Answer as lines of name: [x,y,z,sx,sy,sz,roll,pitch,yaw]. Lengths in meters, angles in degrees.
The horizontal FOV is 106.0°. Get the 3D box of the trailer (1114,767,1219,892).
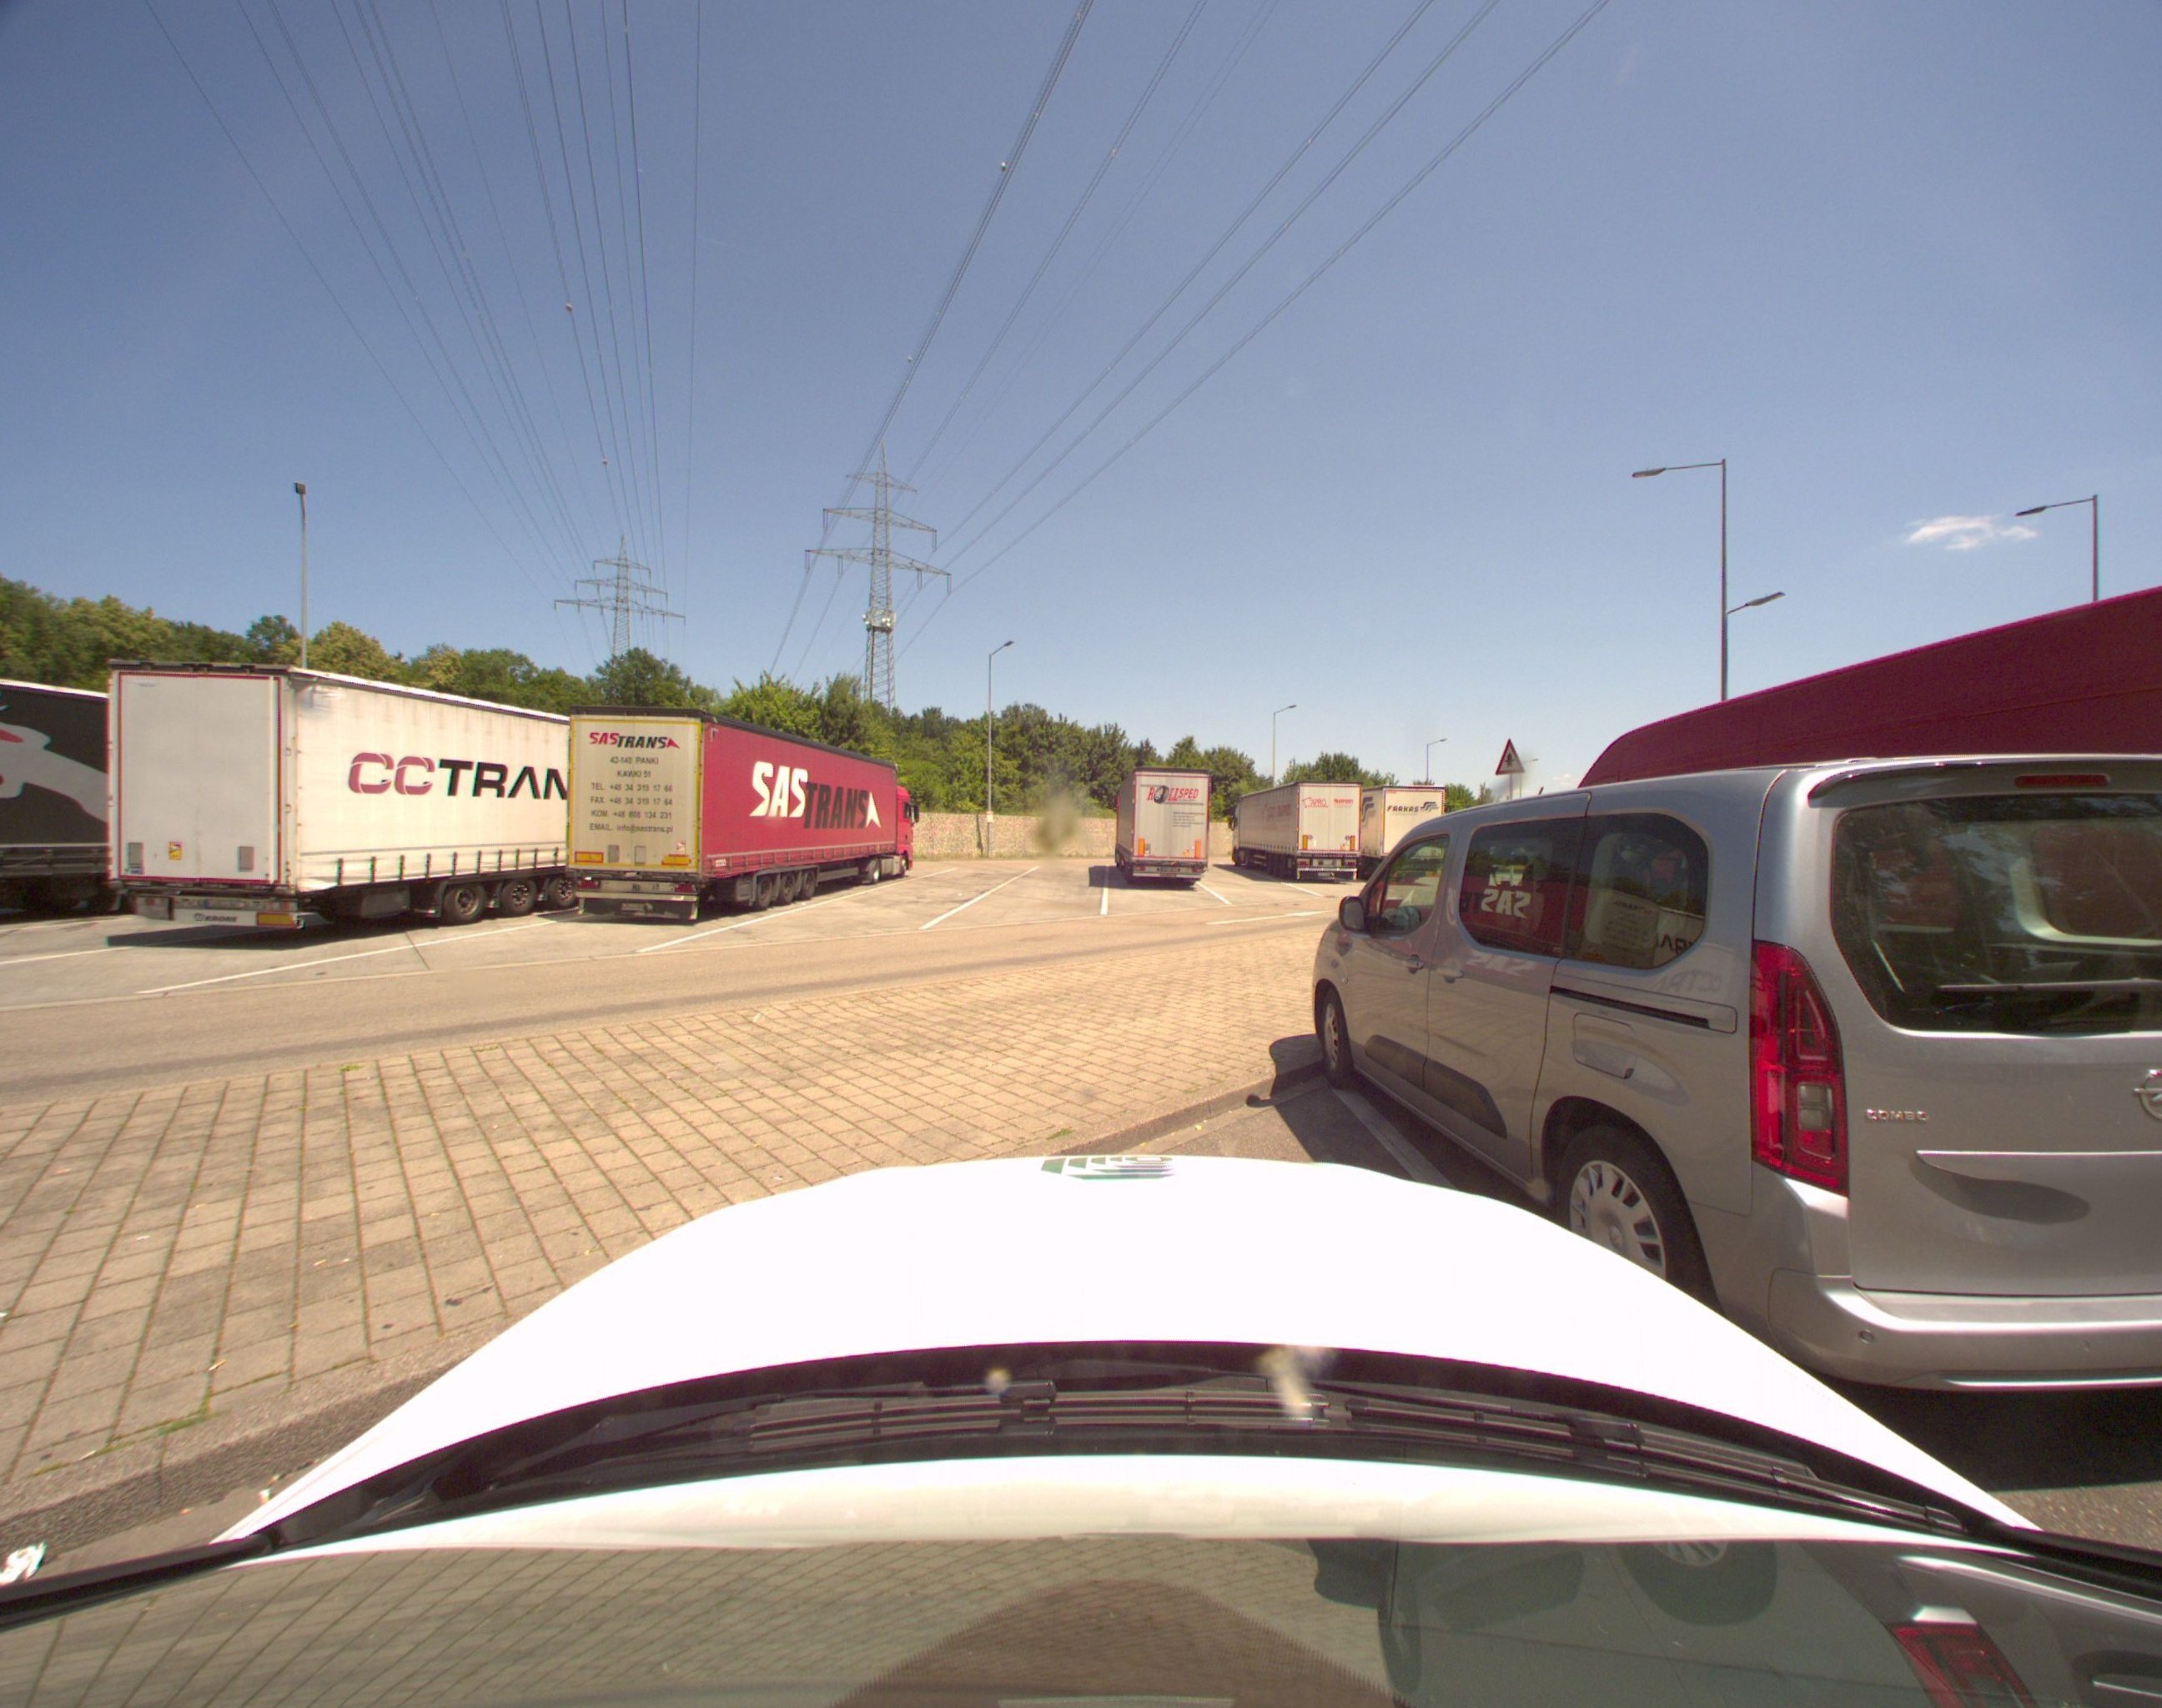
trailer: [3.064,-1.061,33.696,3.122,3.989,14.401,1,2,1]

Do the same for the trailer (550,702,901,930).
trailer: [-8.066,-0.939,21.908,2.781,4.084,14.139,1,2,2]

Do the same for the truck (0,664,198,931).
truck: [-18.544,-0.956,13.789,2.726,4.239,3.997,1,2,2]

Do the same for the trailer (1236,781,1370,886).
trailer: [9.931,-1.045,38.643,2.801,3.989,14.403,1,2,2]

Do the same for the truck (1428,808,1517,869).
truck: [24.360,-1.012,50.980,2.792,3.521,5.903,1,2,2]

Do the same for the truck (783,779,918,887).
truck: [-7.816,-0.777,28.478,2.840,3.327,5.903,1,2,2]

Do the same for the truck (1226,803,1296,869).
truck: [10.195,-1.075,46.744,2.852,3.521,5.903,1,2,2]

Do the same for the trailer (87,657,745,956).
trailer: [-12.131,-0.901,18.339,2.785,4.084,14.139,1,2,2]

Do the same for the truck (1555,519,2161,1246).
truck: [5.130,0.122,4.906,1.968,2.622,5.314,0,-1,7]

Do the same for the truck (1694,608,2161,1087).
truck: [7.986,-0.035,6.454,2.444,2.912,5.663,-1,-1,7]

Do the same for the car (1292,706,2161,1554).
car: [2.484,0.578,3.884,1.864,1.863,4.176,1,1,0]

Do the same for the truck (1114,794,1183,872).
truck: [3.231,-1.078,40.590,3.092,3.566,5.903,1,2,2]

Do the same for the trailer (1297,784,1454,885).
trailer: [13.604,-1.037,39.605,2.801,3.989,14.403,1,2,2]

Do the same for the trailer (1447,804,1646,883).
trailer: [24.102,-0.740,43.749,2.801,3.507,14.403,1,2,2]
